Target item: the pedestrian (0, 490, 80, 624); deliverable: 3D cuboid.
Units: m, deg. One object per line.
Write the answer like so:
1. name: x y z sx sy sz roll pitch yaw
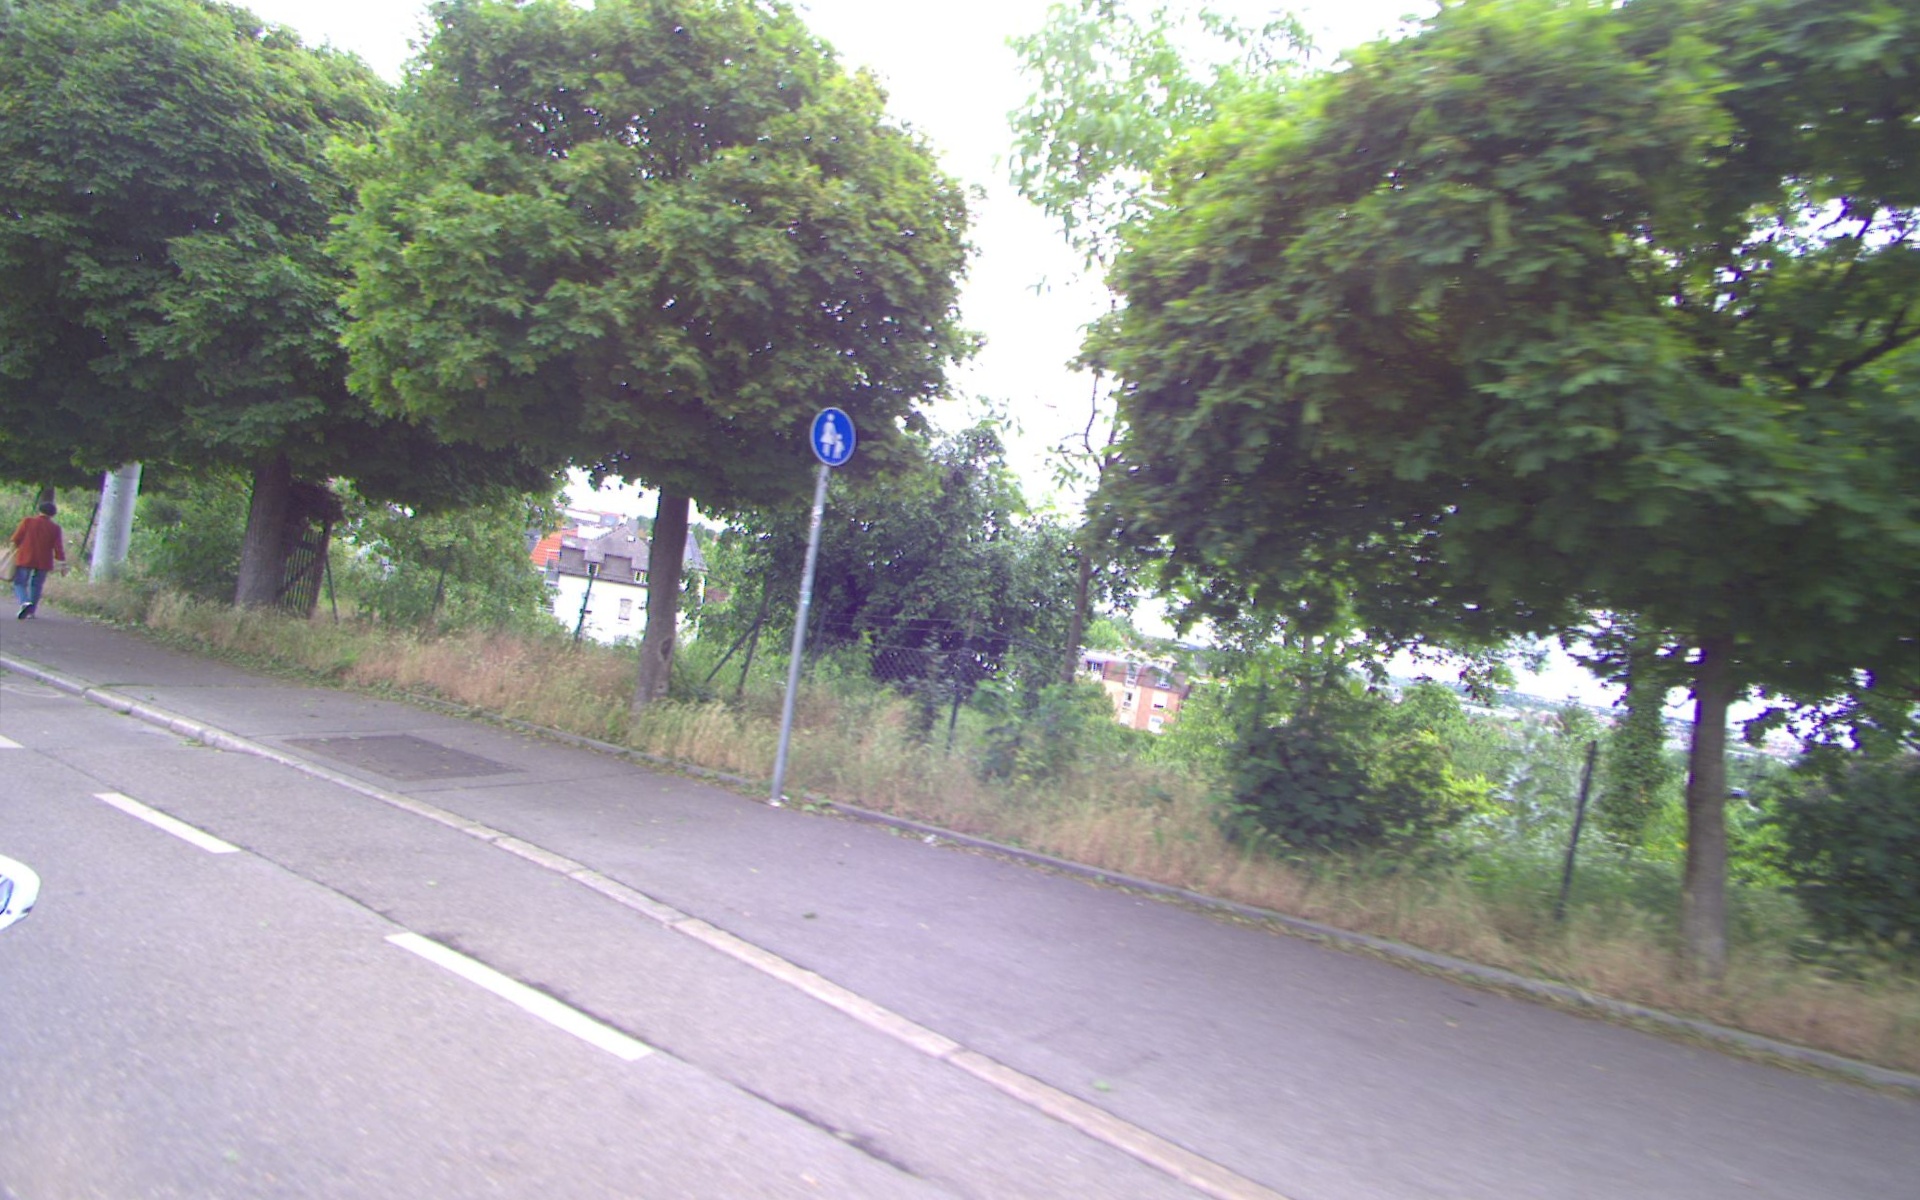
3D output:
1. pedestrian: -12.220 -0.565 13.171 0.707 1.639 0.716 7 -1 32
